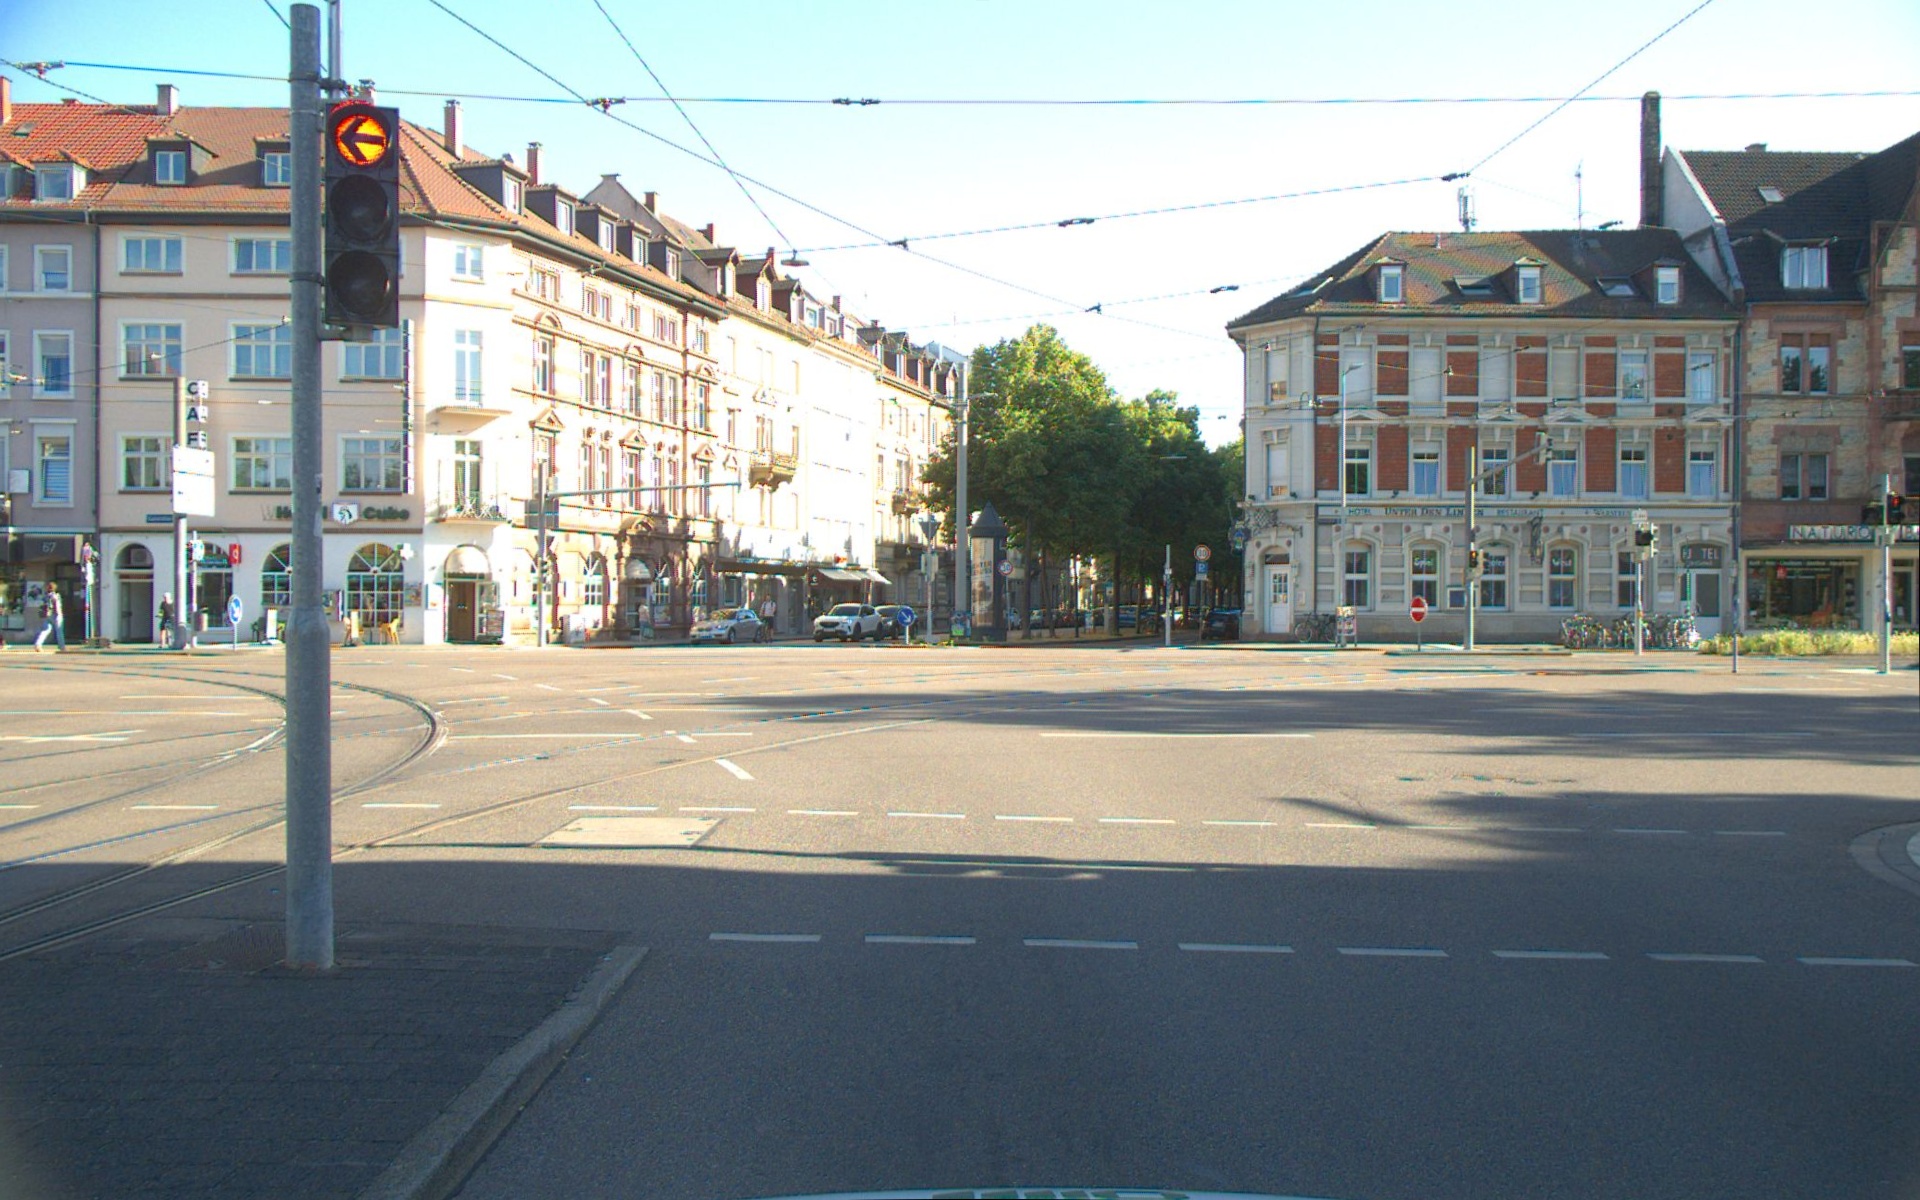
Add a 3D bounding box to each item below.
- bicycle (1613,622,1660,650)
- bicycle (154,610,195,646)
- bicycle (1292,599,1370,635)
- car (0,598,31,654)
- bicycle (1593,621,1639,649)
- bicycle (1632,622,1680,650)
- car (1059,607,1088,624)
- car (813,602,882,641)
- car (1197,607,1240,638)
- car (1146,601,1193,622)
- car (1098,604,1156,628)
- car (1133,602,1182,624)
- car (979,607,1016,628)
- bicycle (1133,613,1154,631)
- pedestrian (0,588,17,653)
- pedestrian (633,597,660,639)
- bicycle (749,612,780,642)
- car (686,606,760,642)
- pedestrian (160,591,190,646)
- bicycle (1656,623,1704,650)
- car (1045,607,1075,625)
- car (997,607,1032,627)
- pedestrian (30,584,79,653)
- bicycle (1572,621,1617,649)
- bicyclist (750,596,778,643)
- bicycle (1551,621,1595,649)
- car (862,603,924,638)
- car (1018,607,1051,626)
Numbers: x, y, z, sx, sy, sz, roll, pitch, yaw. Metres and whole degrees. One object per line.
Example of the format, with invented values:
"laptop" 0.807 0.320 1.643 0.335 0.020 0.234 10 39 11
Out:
"bicycle" 21.865 1.148 53.497 0.645 0.855 2.160 1 0 0
"bicycle" -24.660 0.880 51.925 0.561 1.096 1.497 1 0 -1
"bicycle" 12.868 0.592 57.452 2.504 1.194 0.818 1 -1 -4
"car" -32.150 0.793 52.251 4.276 1.741 2.306 1 0 1
"bicycle" 21.194 1.136 53.463 0.645 0.855 2.160 1 0 0
"bicycle" 22.492 1.158 53.477 0.645 0.855 2.160 1 0 0
"car" 9.317 1.258 135.890 1.642 1.378 3.593 0 0 16
"car" -4.534 0.847 67.221 1.642 1.509 3.774 0 0 16
"car" 12.959 1.110 82.744 1.642 1.509 3.950 0 0 16
"car" 16.942 0.892 133.741 3.503 1.677 1.684 0 0 16
"car" 11.715 1.122 115.829 3.819 1.677 1.684 0 0 16
"car" 15.320 0.966 128.242 3.503 1.677 1.684 0 0 16
"car" 2.565 1.145 111.334 1.642 1.378 3.593 0 0 16
"bicycle" 11.053 1.301 99.622 0.625 1.039 1.840 1 0 -14
"pedestrian" -24.082 0.501 41.142 0.710 1.605 0.834 1 -1 9
"pedestrian" -12.735 0.720 67.109 0.759 1.699 0.831 1 -1 15
"bicycle" -7.679 1.050 65.121 0.687 1.137 1.636 1 0 13
"car" -9.539 0.937 66.740 1.642 1.378 3.593 0 0 16
"pedestrian" -24.655 0.583 51.944 0.570 1.699 0.752 1 -1 -1
"bicycle" 23.281 1.172 53.522 0.645 0.855 2.160 1 0 0
"car" 7.892 1.221 130.839 1.642 1.378 3.593 0 0 16
"car" 3.822 1.164 115.509 1.642 1.378 3.593 0 0 16
"pedestrian" -21.543 0.432 39.345 0.539 1.605 0.832 1 -1 27
"bicycle" 20.482 1.124 53.450 0.645 0.855 2.160 1 0 0
"bicyclist" -7.713 0.770 64.999 0.761 1.834 1.056 1 -1 13
"bicycle" 19.763 1.111 53.363 0.645 0.855 2.160 1 0 0
"car" -2.947 0.891 73.546 1.642 1.509 3.950 0 0 16
"car" 5.534 1.214 122.497 1.642 1.378 3.593 0 0 16
